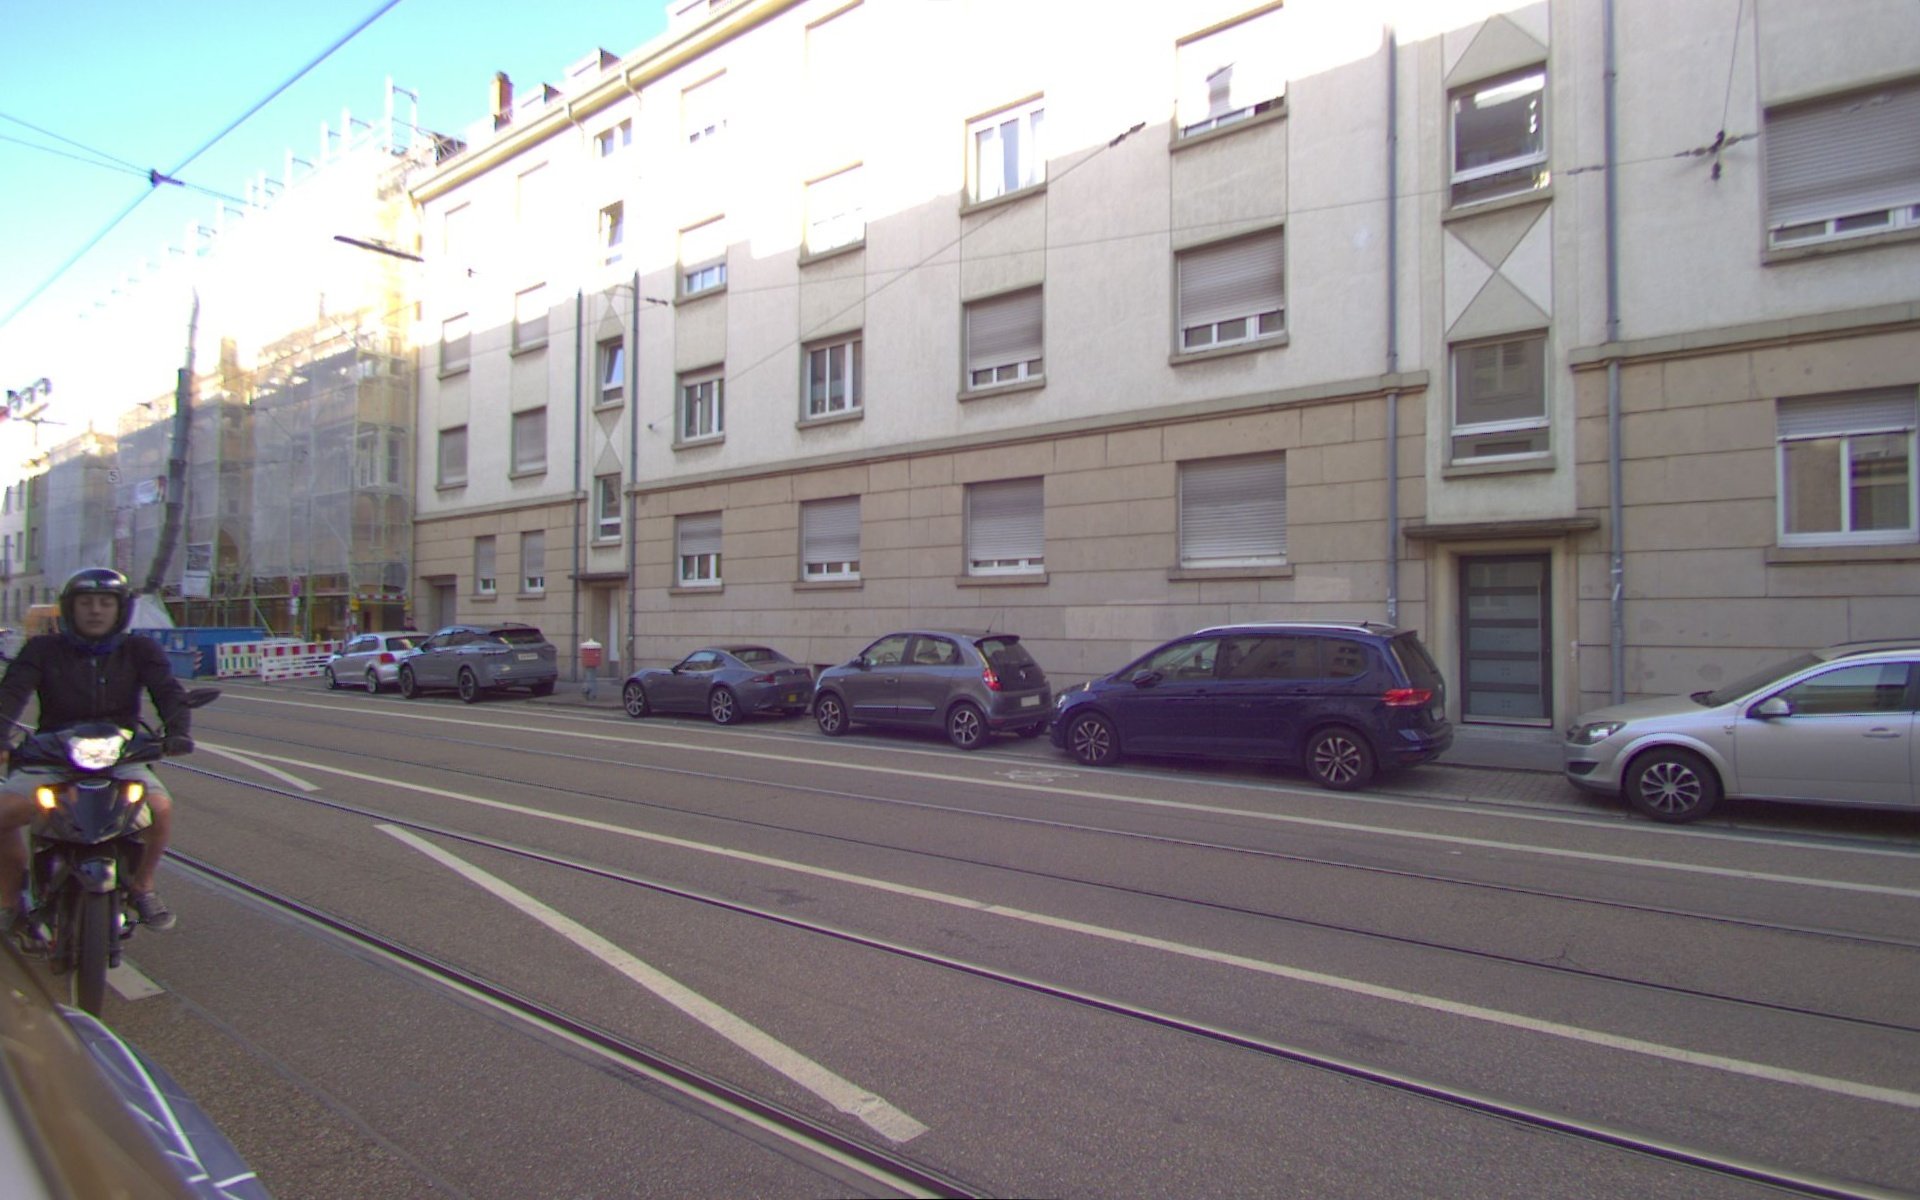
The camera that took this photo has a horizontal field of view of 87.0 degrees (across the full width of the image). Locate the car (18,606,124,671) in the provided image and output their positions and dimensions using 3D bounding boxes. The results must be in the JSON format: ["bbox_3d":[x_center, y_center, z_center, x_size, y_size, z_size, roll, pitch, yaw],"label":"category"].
[{"bbox_3d":[-36.354,1.584,41.310,5.991,2.488,2.099,-2,-3,38],"label":"car"}]

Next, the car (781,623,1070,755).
[{"bbox_3d":[-0.571,1.153,14.486,3.994,1.581,1.683,-1,0,38],"label":"car"}]

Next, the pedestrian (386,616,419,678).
[{"bbox_3d":[-15.705,1.316,28.526,0.715,1.707,0.575,-2,-1,37],"label":"pedestrian"}]

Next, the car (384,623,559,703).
[{"bbox_3d":[-10.790,1.325,22.243,4.399,1.580,1.683,-1,-2,38],"label":"car"}]

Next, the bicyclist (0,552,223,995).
[{"bbox_3d":[-3.503,0.627,4.037,0.830,1.566,0.852,2,-3,-34],"label":"bicyclist"}]

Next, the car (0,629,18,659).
[{"bbox_3d":[-50.266,2.273,52.252,3.994,1.523,1.730,-2,-3,38],"label":"car"}]

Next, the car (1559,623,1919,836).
[{"bbox_3d":[7.464,0.969,8.162,4.379,1.521,1.683,-1,0,37],"label":"car"}]

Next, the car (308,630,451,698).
[{"bbox_3d":[-14.436,1.527,25.109,3.994,1.426,1.683,-1,1,38],"label":"car"}]

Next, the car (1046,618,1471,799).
[{"bbox_3d":[3.194,1.031,11.306,4.238,1.627,1.683,-1,0,39],"label":"car"}]

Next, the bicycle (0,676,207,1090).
[{"bbox_3d":[-3.440,0.931,3.956,0.728,1.186,1.979,2,-3,-36],"label":"bicycle"}]

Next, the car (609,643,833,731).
[{"bbox_3d":[-4.113,1.402,17.192,3.778,1.225,1.684,-1,0,36],"label":"car"}]
